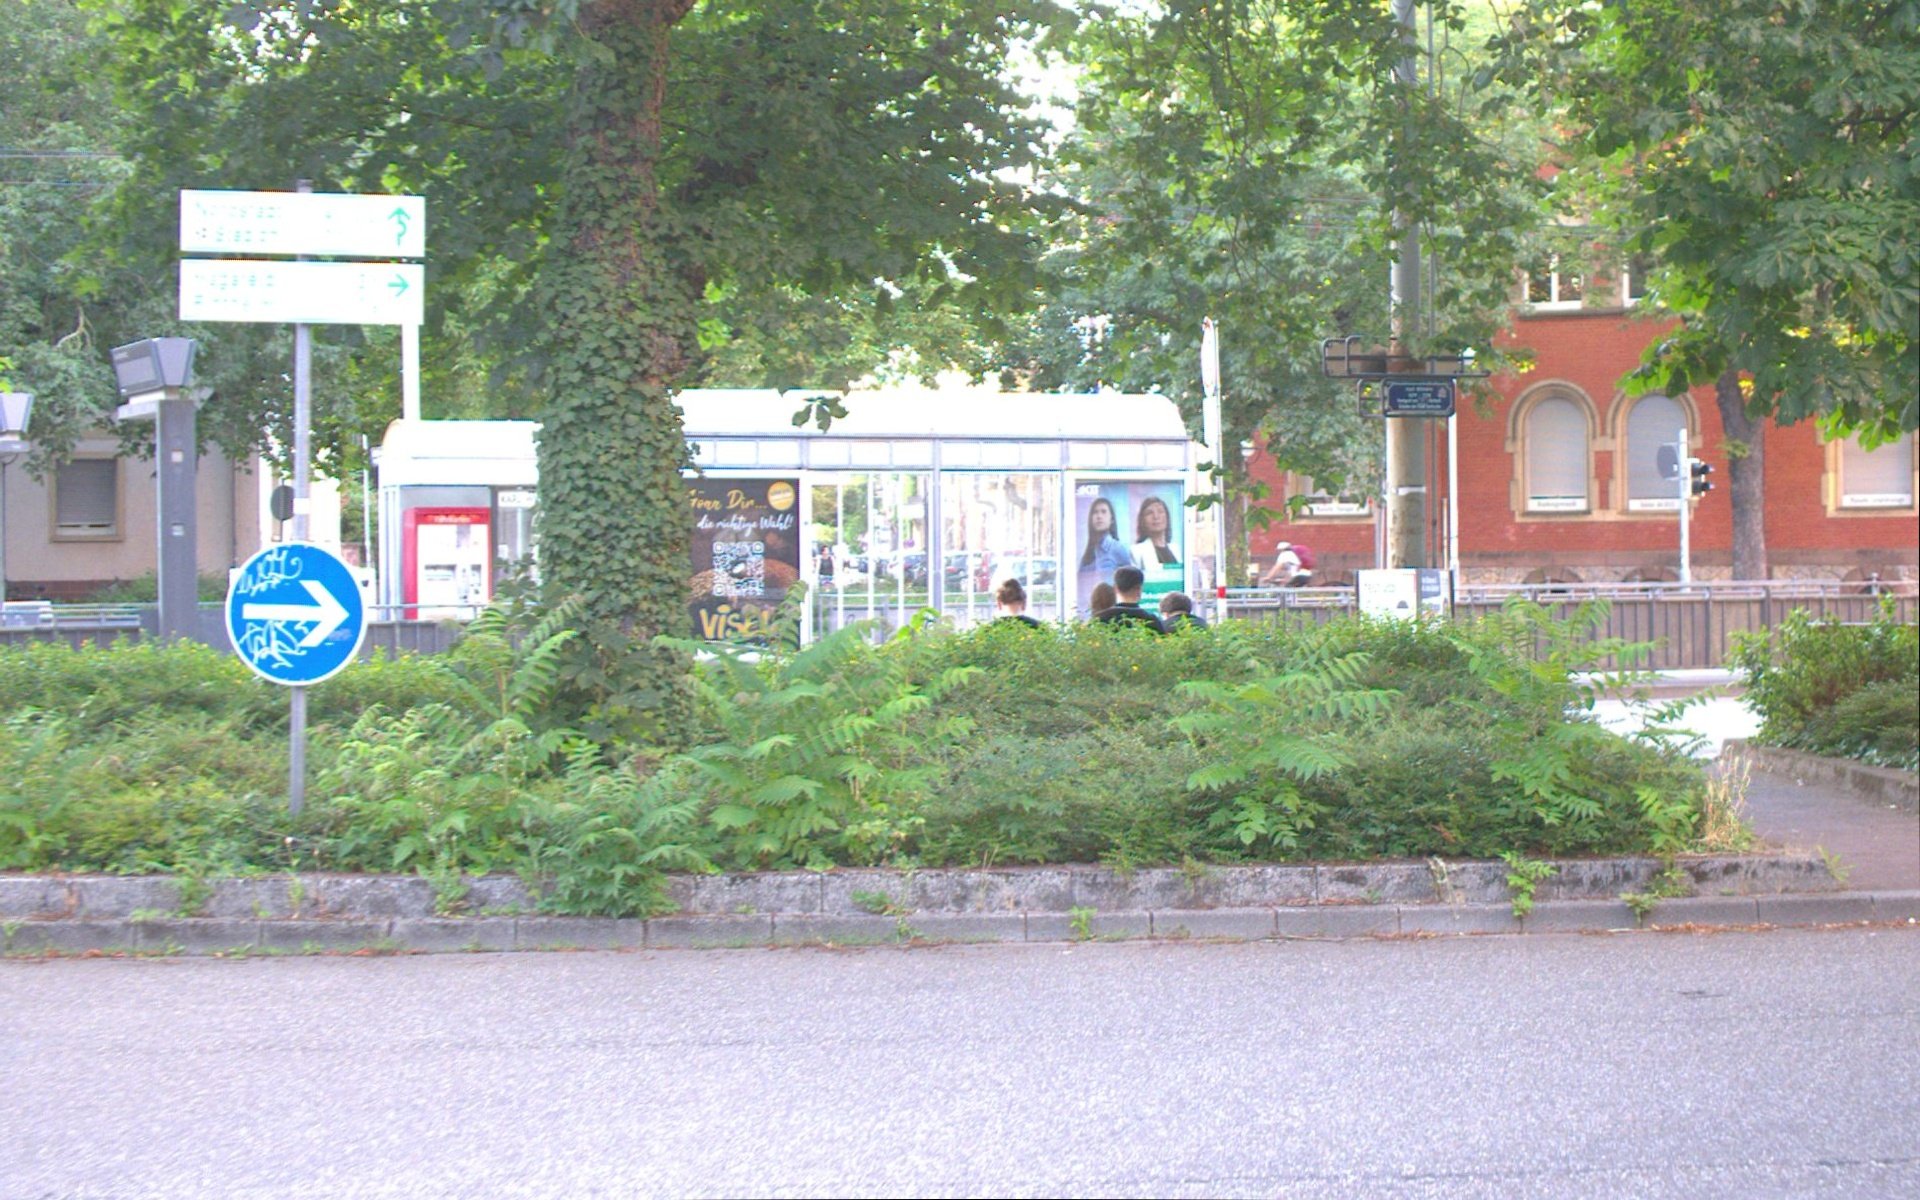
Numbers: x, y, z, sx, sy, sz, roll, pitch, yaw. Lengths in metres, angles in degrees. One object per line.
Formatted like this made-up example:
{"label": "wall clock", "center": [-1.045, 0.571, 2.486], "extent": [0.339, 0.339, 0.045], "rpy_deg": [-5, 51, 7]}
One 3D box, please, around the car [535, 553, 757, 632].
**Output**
{"label": "car", "center": [-7.158, -0.182, 78.354], "extent": [4.949, 1.698, 2.000], "rpy_deg": [1, 1, -6]}

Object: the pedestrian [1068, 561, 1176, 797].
{"label": "pedestrian", "center": [0.998, 0.479, 21.321], "extent": [0.616, 1.426, 0.655], "rpy_deg": [0, 1, -1]}

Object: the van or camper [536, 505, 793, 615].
{"label": "van or camper", "center": [-8.708, -1.168, 101.047], "extent": [7.364, 3.072, 2.674], "rpy_deg": [1, 1, -6]}

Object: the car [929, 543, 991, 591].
{"label": "car", "center": [-0.028, -1.210, 126.561], "extent": [1.993, 1.698, 4.721], "rpy_deg": [1, 1, -3]}

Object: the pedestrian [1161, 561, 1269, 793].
{"label": "pedestrian", "center": [1.600, 0.476, 21.645], "extent": [0.616, 1.426, 0.655], "rpy_deg": [0, 1, -1]}

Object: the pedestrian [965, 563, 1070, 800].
{"label": "pedestrian", "center": [0.348, 0.492, 21.209], "extent": [0.616, 1.426, 0.655], "rpy_deg": [0, 1, -1]}

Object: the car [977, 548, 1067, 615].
{"label": "car", "center": [1.610, -0.517, 91.008], "extent": [1.993, 1.698, 4.721], "rpy_deg": [1, 1, -3]}

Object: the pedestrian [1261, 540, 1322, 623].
{"label": "pedestrian", "center": [6.150, -0.343, 63.775], "extent": [0.866, 1.521, 0.714], "rpy_deg": [0, 1, 36]}

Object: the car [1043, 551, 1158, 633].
{"label": "car", "center": [3.019, -0.188, 74.718], "extent": [1.993, 1.698, 4.721], "rpy_deg": [1, 1, -3]}
